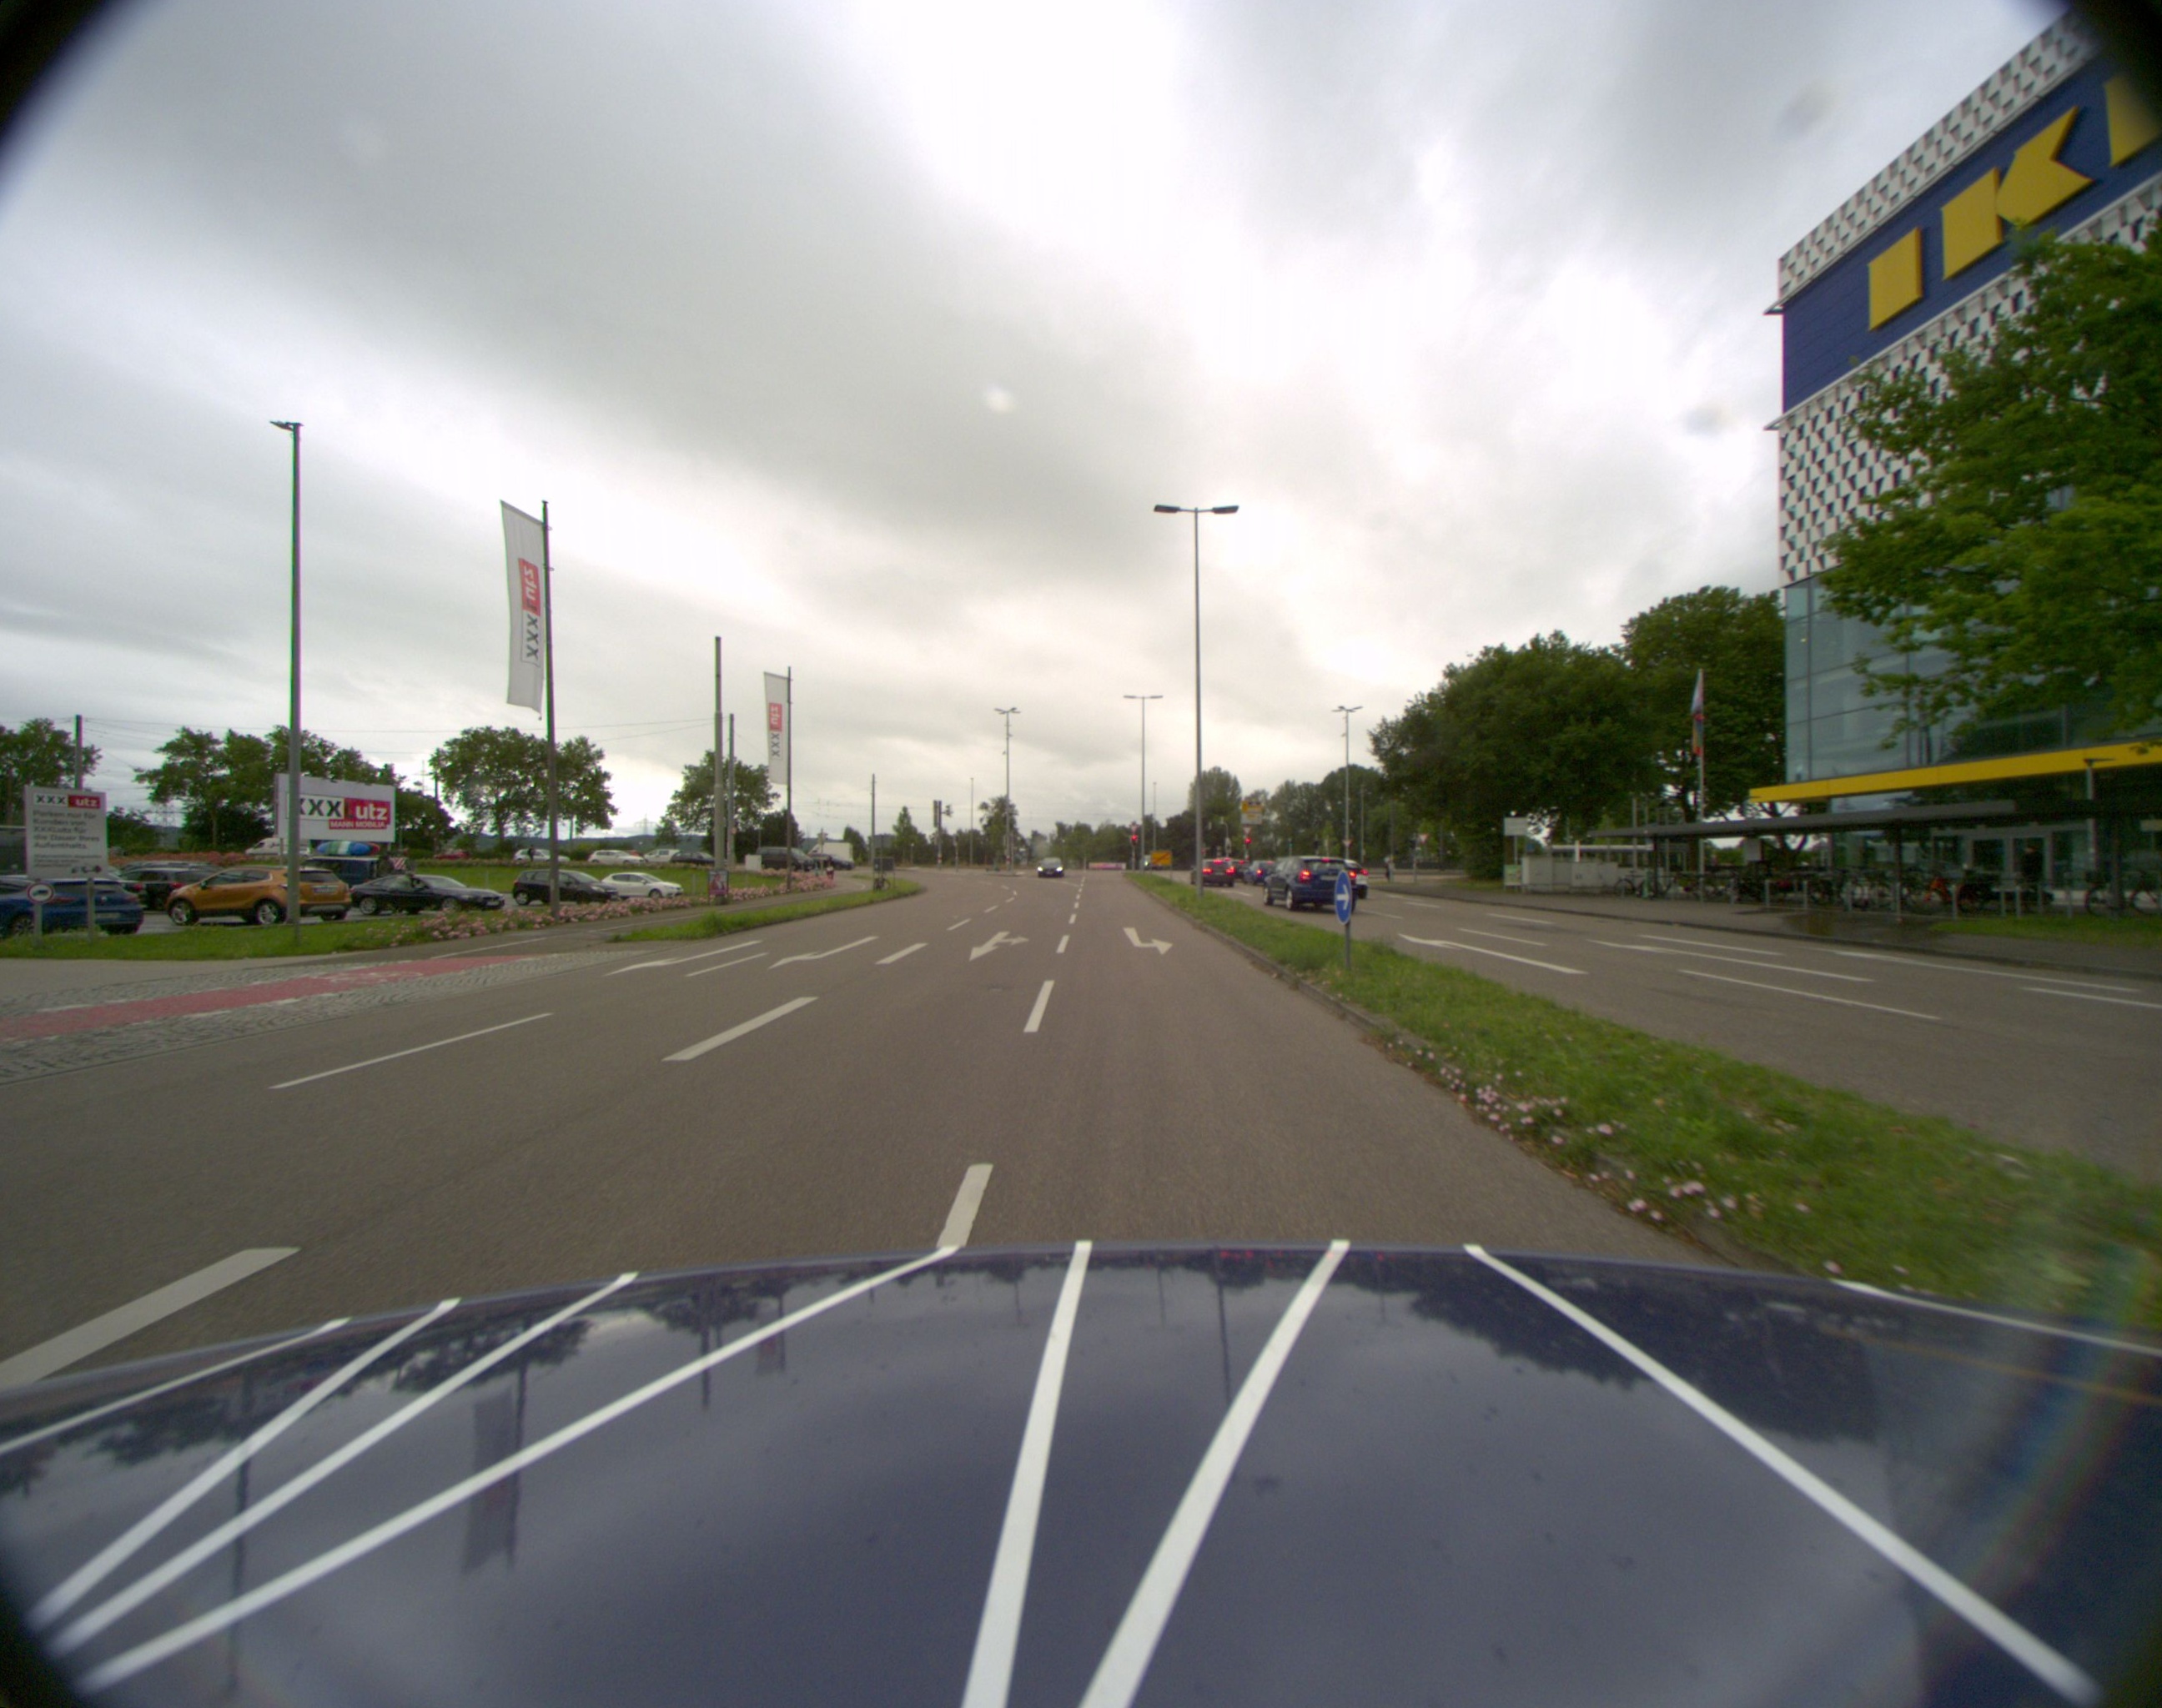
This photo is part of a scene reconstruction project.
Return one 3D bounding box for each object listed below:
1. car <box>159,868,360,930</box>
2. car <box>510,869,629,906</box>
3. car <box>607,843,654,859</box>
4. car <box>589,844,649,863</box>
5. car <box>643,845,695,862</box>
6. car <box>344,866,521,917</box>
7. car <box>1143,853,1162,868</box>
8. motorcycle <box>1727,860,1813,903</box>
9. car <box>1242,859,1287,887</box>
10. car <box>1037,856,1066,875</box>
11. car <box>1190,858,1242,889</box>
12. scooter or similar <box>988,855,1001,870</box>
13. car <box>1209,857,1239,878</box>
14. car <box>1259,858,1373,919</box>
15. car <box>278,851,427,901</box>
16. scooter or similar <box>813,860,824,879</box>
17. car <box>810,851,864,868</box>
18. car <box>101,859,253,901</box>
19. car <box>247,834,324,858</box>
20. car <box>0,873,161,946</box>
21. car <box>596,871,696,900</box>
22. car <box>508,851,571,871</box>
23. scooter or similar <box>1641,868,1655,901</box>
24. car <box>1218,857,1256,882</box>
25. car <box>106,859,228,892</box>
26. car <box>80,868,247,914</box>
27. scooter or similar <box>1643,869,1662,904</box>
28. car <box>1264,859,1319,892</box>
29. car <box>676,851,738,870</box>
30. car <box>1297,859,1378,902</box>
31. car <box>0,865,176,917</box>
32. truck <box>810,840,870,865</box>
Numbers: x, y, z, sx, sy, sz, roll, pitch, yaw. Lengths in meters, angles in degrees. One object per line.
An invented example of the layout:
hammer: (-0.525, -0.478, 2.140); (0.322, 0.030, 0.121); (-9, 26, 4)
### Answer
car: (-23.189, 1.222, 21.529); (3.995, 1.634, 1.816); (0, 0, 6)
car: (-22.932, 1.492, 34.172); (4.103, 1.573, 1.770); (0, -1, -2)
car: (-51.902, -0.358, 87.617); (4.248, 1.641, 1.784); (1, -2, -7)
car: (-39.113, -0.004, 64.389); (4.042, 1.529, 1.734); (0, -2, 1)
car: (-49.848, -0.049, 92.026); (5.121, 1.868, 2.100); (1, -2, -10)
car: (-22.569, 1.274, 26.561); (4.537, 1.575, 1.768); (0, 4, 0)
car: (7.511, 0.709, 79.644); (1.676, 1.400, 4.374); (0, -2, 1)
motorcycle: (23.619, 0.937, 26.063); (2.500, 1.347, 0.799); (-2, 0, -11)
car: (10.487, 1.080, 43.630); (1.606, 1.436, 4.143); (2, 0, 1)
car: (-2.201, 0.848, 57.376); (1.999, 1.382, 4.343); (0, 0, 0)
car: (7.070, 0.981, 40.119); (1.888, 1.428, 4.431); (1, 0, -1)
scooter or similar: (-7.603, 0.766, 67.074); (1.113, 1.249, 0.321); (1, 2, 15)
car: (10.432, 0.990, 55.652); (1.606, 1.494, 3.210); (0, 0, 0)
car: (6.593, 0.900, 21.897); (1.936, 1.477, 4.439); (1, 1, 1)
car: (-32.825, 0.955, 34.318); (5.045, 2.152, 2.123); (0, 0, 6)
scooter or similar: (-17.433, 1.011, 50.463); (0.347, 1.226, 1.162); (-2, 2, -37)
car: (-21.553, 0.472, 67.181); (4.199, 1.455, 1.839); (0, 0, 14)
car: (-38.103, 1.063, 32.113); (3.997, 1.665, 2.000); (-1, 0, 0)
car: (-94.327, -0.939, 90.201); (5.898, 2.609, 2.664); (1, -2, -6)
car: (-23.153, 1.183, 16.600); (3.996, 1.447, 1.815); (0, 0, 3)
car: (-22.648, 1.651, 39.659); (4.117, 1.436, 1.876); (0, -2, 0)
car: (-46.008, 0.576, 64.584); (4.072, 1.592, 1.747); (0, -2, -1)
scooter or similar: (21.037, 1.131, 28.183); (0.358, 1.178, 1.295); (-2, 0, 39)
car: (10.214, 0.989, 49.992); (1.666, 1.494, 4.065); (2, 0, 1)
car: (-47.552, 1.104, 39.593); (3.997, 1.655, 1.886); (0, -1, -1)
car: (-32.826, 1.301, 27.252); (3.994, 1.546, 1.949); (-1, 0, 7)
scooter or similar: (20.272, 1.145, 26.947); (0.423, 1.141, 1.351); (-2, 0, 33)
car: (10.416, 1.029, 37.847); (1.606, 1.489, 4.037); (2, 0, 1)
car: (-31.576, 0.544, 64.156); (4.316, 1.455, 1.970); (1, 0, 7)
car: (10.322, 1.028, 30.906); (1.935, 1.510, 4.182); (1, 1, 2)
car: (-32.522, 1.160, 24.661); (3.996, 1.559, 2.000); (-1, 0, 2)
truck: (-29.629, -0.172, 93.607); (6.542, 2.905, 2.828); (1, -2, -5)
